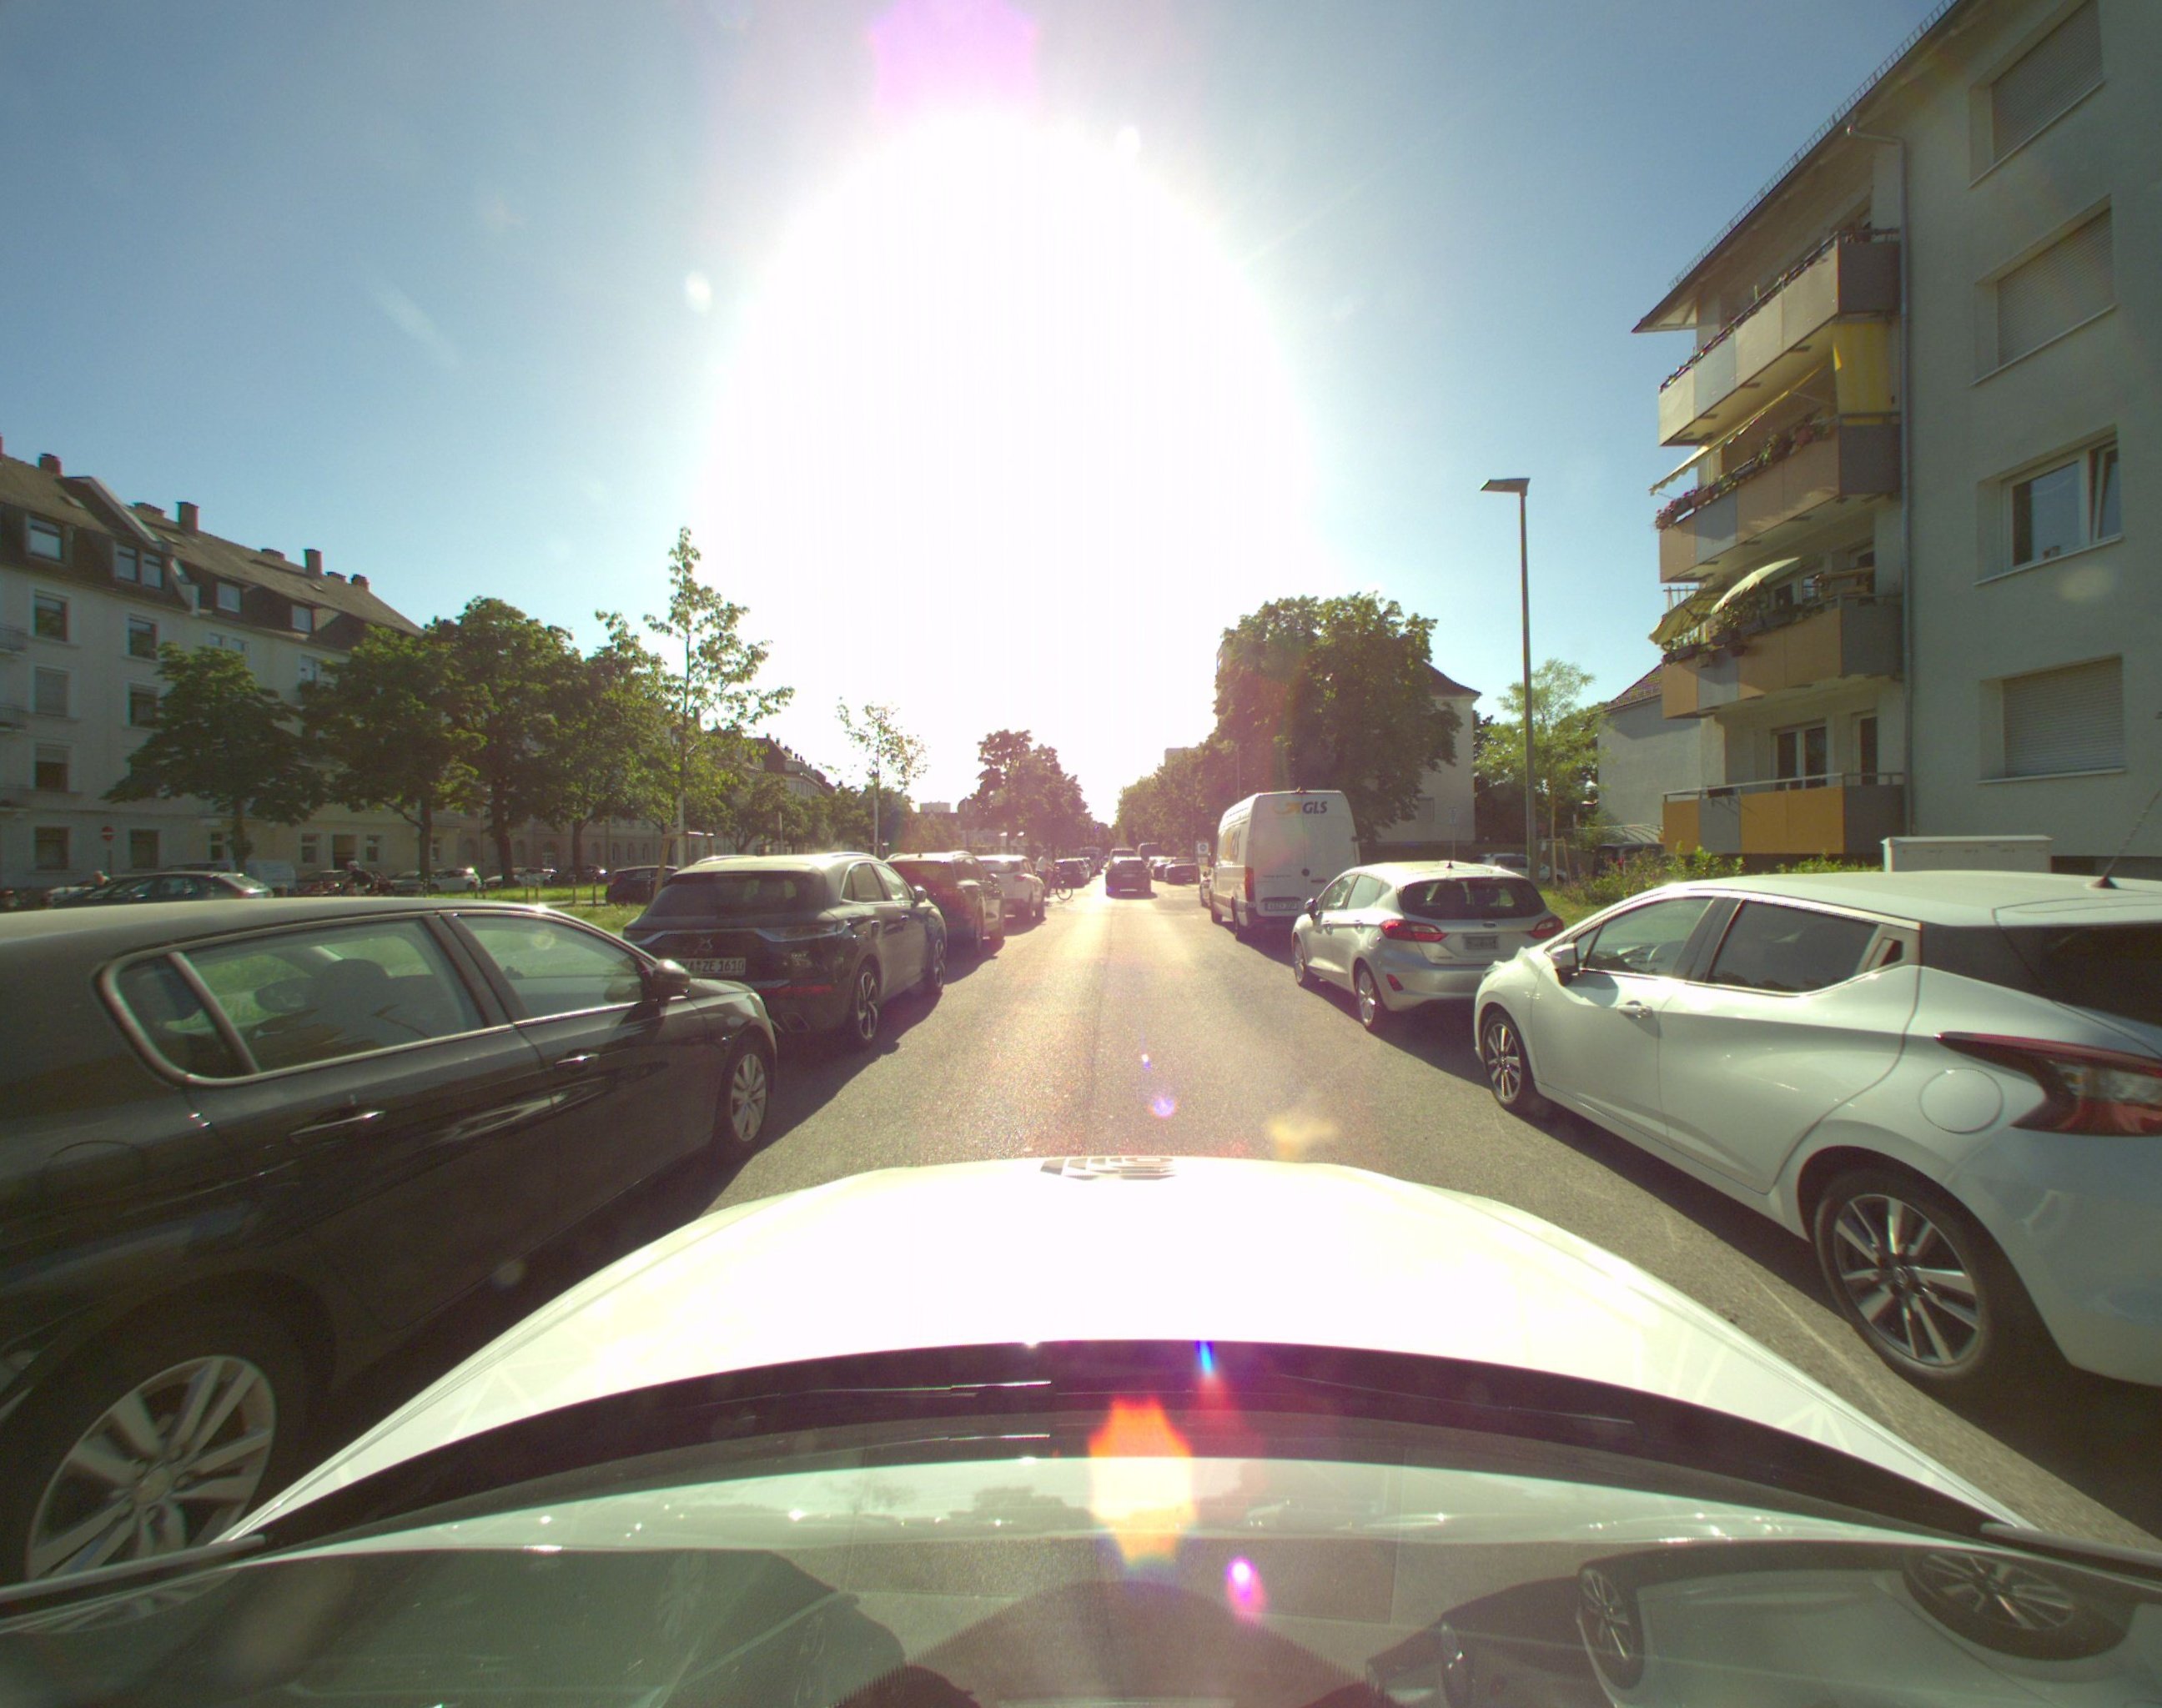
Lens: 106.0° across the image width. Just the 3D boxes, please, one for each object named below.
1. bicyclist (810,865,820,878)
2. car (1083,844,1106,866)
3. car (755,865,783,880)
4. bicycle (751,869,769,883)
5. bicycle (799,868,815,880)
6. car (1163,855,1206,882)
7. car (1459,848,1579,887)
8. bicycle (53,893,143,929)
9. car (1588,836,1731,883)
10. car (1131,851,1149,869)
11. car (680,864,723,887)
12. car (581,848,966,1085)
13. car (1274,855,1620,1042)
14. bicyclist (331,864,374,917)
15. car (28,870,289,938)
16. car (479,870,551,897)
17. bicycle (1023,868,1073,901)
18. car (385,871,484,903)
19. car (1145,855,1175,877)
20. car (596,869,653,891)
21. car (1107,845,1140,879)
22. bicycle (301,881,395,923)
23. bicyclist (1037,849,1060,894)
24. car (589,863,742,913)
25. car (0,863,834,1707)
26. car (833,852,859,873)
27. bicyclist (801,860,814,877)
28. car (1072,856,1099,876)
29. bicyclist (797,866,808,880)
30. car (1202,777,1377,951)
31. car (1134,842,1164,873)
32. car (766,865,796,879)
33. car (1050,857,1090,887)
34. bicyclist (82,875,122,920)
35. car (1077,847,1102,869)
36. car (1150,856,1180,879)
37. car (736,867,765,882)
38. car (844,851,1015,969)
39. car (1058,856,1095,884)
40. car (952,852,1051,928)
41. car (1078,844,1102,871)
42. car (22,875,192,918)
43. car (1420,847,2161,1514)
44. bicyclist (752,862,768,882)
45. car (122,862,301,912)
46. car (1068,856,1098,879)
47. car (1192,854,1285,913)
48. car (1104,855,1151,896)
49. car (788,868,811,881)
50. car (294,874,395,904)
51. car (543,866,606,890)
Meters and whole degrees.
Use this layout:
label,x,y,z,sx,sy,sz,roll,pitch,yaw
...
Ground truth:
label,x,y,z,sx,sy,sz,roll,pitch,yaw
bicyclist,-29.072,1.915,89.127,0.735,1.437,0.943,-2,-1,2
car,1.759,0.127,105.389,2.605,2.645,6.120,-1,0,4
car,-39.119,2.250,102.077,1.853,1.749,4.001,-1,0,1
bicycle,-30.655,2.094,77.812,0.808,1.252,2.632,0,-1,-2
bicycle,-30.623,2.239,91.012,0.807,1.252,2.634,0,-1,1
car,5.818,0.786,46.316,2.116,1.337,4.510,-4,0,4
car,17.238,0.527,32.157,3.876,1.429,1.658,-1,0,-2
bicycle,-39.847,2.290,33.057,0.838,1.262,2.259,-1,0,2
car,22.689,0.203,32.063,4.265,1.730,1.870,-1,0,1
car,7.465,0.737,103.569,2.154,2.292,5.268,-1,0,2
car,-34.520,1.912,74.176,1.731,1.908,4.460,-1,0,0
car,-2.528,0.810,8.169,1.812,1.610,4.742,-3,0,3
car,3.402,0.752,8.569,1.842,1.466,4.203,0,0,1
bicyclist,-23.872,1.183,26.703,0.880,1.690,0.627,-1,0,-24
car,-25.335,1.325,22.610,4.351,1.576,1.915,-2,0,-22
car,-35.394,1.791,51.056,1.688,1.526,4.080,-1,0,0
bicycle,-1.185,1.093,29.461,1.755,1.127,0.662,-1,-1,-1
car,-35.590,1.782,44.990,1.688,1.561,4.697,-1,0,0
car,5.659,0.869,58.666,1.773,1.487,4.032,-1,0,1
car,-34.987,1.956,62.579,1.751,1.549,4.527,-1,0,0
car,2.697,0.494,51.325,1.886,1.991,4.014,-3,0,4
bicycle,-23.947,1.558,26.666,2.157,1.258,0.709,-1,0,-24
bicyclist,-1.167,0.626,29.466,0.786,1.596,0.696,-1,0,-1
car,-13.690,1.095,27.140,4.351,1.409,1.907,-1,2,-22
car,-2.661,0.867,3.137,1.866,1.519,4.471,-3,0,1
car,-33.124,1.186,114.943,1.909,2.744,5.624,-1,0,0
bicyclist,-30.619,1.609,91.097,0.938,1.837,1.450,-2,-1,1
car,0.381,0.931,65.047,1.825,1.500,4.131,-1,0,4
bicyclist,-30.335,2.066,88.798,0.735,1.437,0.943,-7,-2,2
car,3.862,0.167,16.536,2.133,2.713,6.848,-3,0,4
car,6.149,0.310,73.842,2.156,2.689,5.414,-1,0,-1
car,-33.960,2.054,92.204,1.839,1.440,3.777,-1,0,3
car,-0.528,0.946,42.802,1.740,1.425,3.920,-3,-1,4
bicyclist,-39.836,1.755,33.140,0.670,1.802,0.802,-1,0,2
car,0.807,0.343,73.513,2.090,1.942,4.129,-1,0,3
car,5.356,0.863,52.295,1.772,1.371,4.130,-1,0,4
car,-34.116,2.146,84.146,1.374,1.440,3.345,-1,0,3
car,-2.405,0.821,14.260,1.835,1.638,4.718,-3,0,3
car,-0.211,0.899,47.319,1.769,1.495,3.878,-3,-1,4
car,-1.901,0.826,20.770,1.748,1.647,4.291,-3,0,4
car,0.936,0.328,79.928,2.089,2.496,4.131,-1,0,4
car,-41.604,1.748,34.992,1.988,1.586,4.449,-1,0,-1
car,3.337,0.731,3.880,1.870,1.475,4.143,-1,0,3
bicyclist,-30.664,1.716,77.797,0.939,1.837,1.448,-2,-1,-3
car,-36.361,1.296,34.322,2.075,1.872,5.097,-1,0,0
car,0.186,0.918,55.244,1.772,1.461,4.130,-1,0,4
car,4.539,0.795,24.173,1.951,1.481,4.500,-3,0,2
car,1.883,0.820,32.781,1.772,1.531,4.004,0,0,4
car,-33.420,2.386,96.706,1.512,1.440,3.231,-1,0,0
car,-35.779,1.674,39.685,1.688,1.279,3.525,-1,0,0
car,-34.993,1.637,56.397,1.626,1.549,4.354,-1,0,0
